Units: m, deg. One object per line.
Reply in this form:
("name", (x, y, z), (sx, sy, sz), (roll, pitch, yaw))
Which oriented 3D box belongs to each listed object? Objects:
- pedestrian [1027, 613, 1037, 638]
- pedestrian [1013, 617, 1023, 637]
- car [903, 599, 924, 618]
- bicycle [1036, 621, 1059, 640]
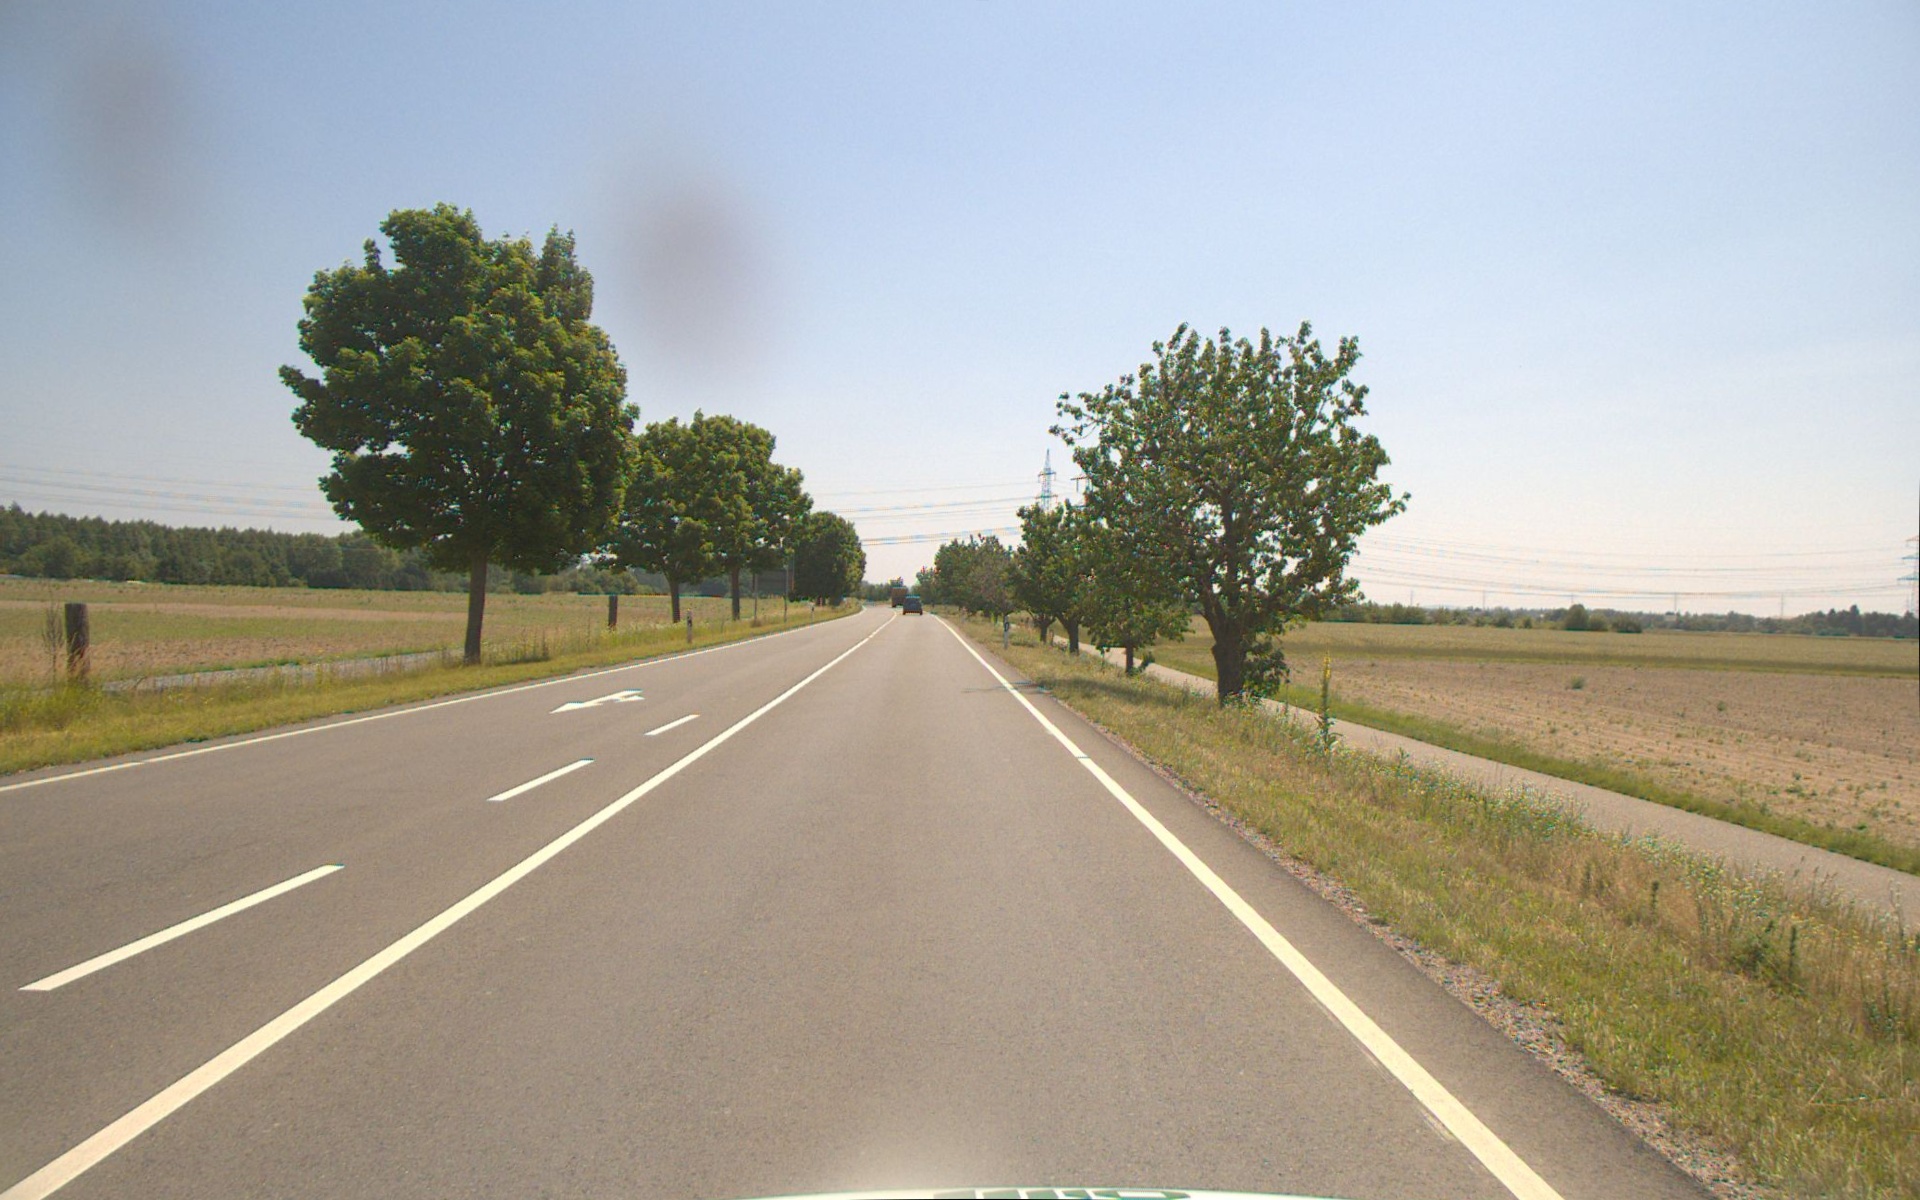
("pedestrian", (5.261, 1.853, 120.627), (0.545, 1.750, 0.603), (4, 0, -10))
("pedestrian", (4.169, 1.955, 119.598), (0.545, 1.394, 0.603), (4, 0, -10))
("car", (-4.282, 0.794, 153.498), (1.847, 1.544, 4.038), (4, 0, -2))
("bicycle", (6.172, 2.156, 116.405), (1.195, 1.185, 2.433), (4, 0, -6))
